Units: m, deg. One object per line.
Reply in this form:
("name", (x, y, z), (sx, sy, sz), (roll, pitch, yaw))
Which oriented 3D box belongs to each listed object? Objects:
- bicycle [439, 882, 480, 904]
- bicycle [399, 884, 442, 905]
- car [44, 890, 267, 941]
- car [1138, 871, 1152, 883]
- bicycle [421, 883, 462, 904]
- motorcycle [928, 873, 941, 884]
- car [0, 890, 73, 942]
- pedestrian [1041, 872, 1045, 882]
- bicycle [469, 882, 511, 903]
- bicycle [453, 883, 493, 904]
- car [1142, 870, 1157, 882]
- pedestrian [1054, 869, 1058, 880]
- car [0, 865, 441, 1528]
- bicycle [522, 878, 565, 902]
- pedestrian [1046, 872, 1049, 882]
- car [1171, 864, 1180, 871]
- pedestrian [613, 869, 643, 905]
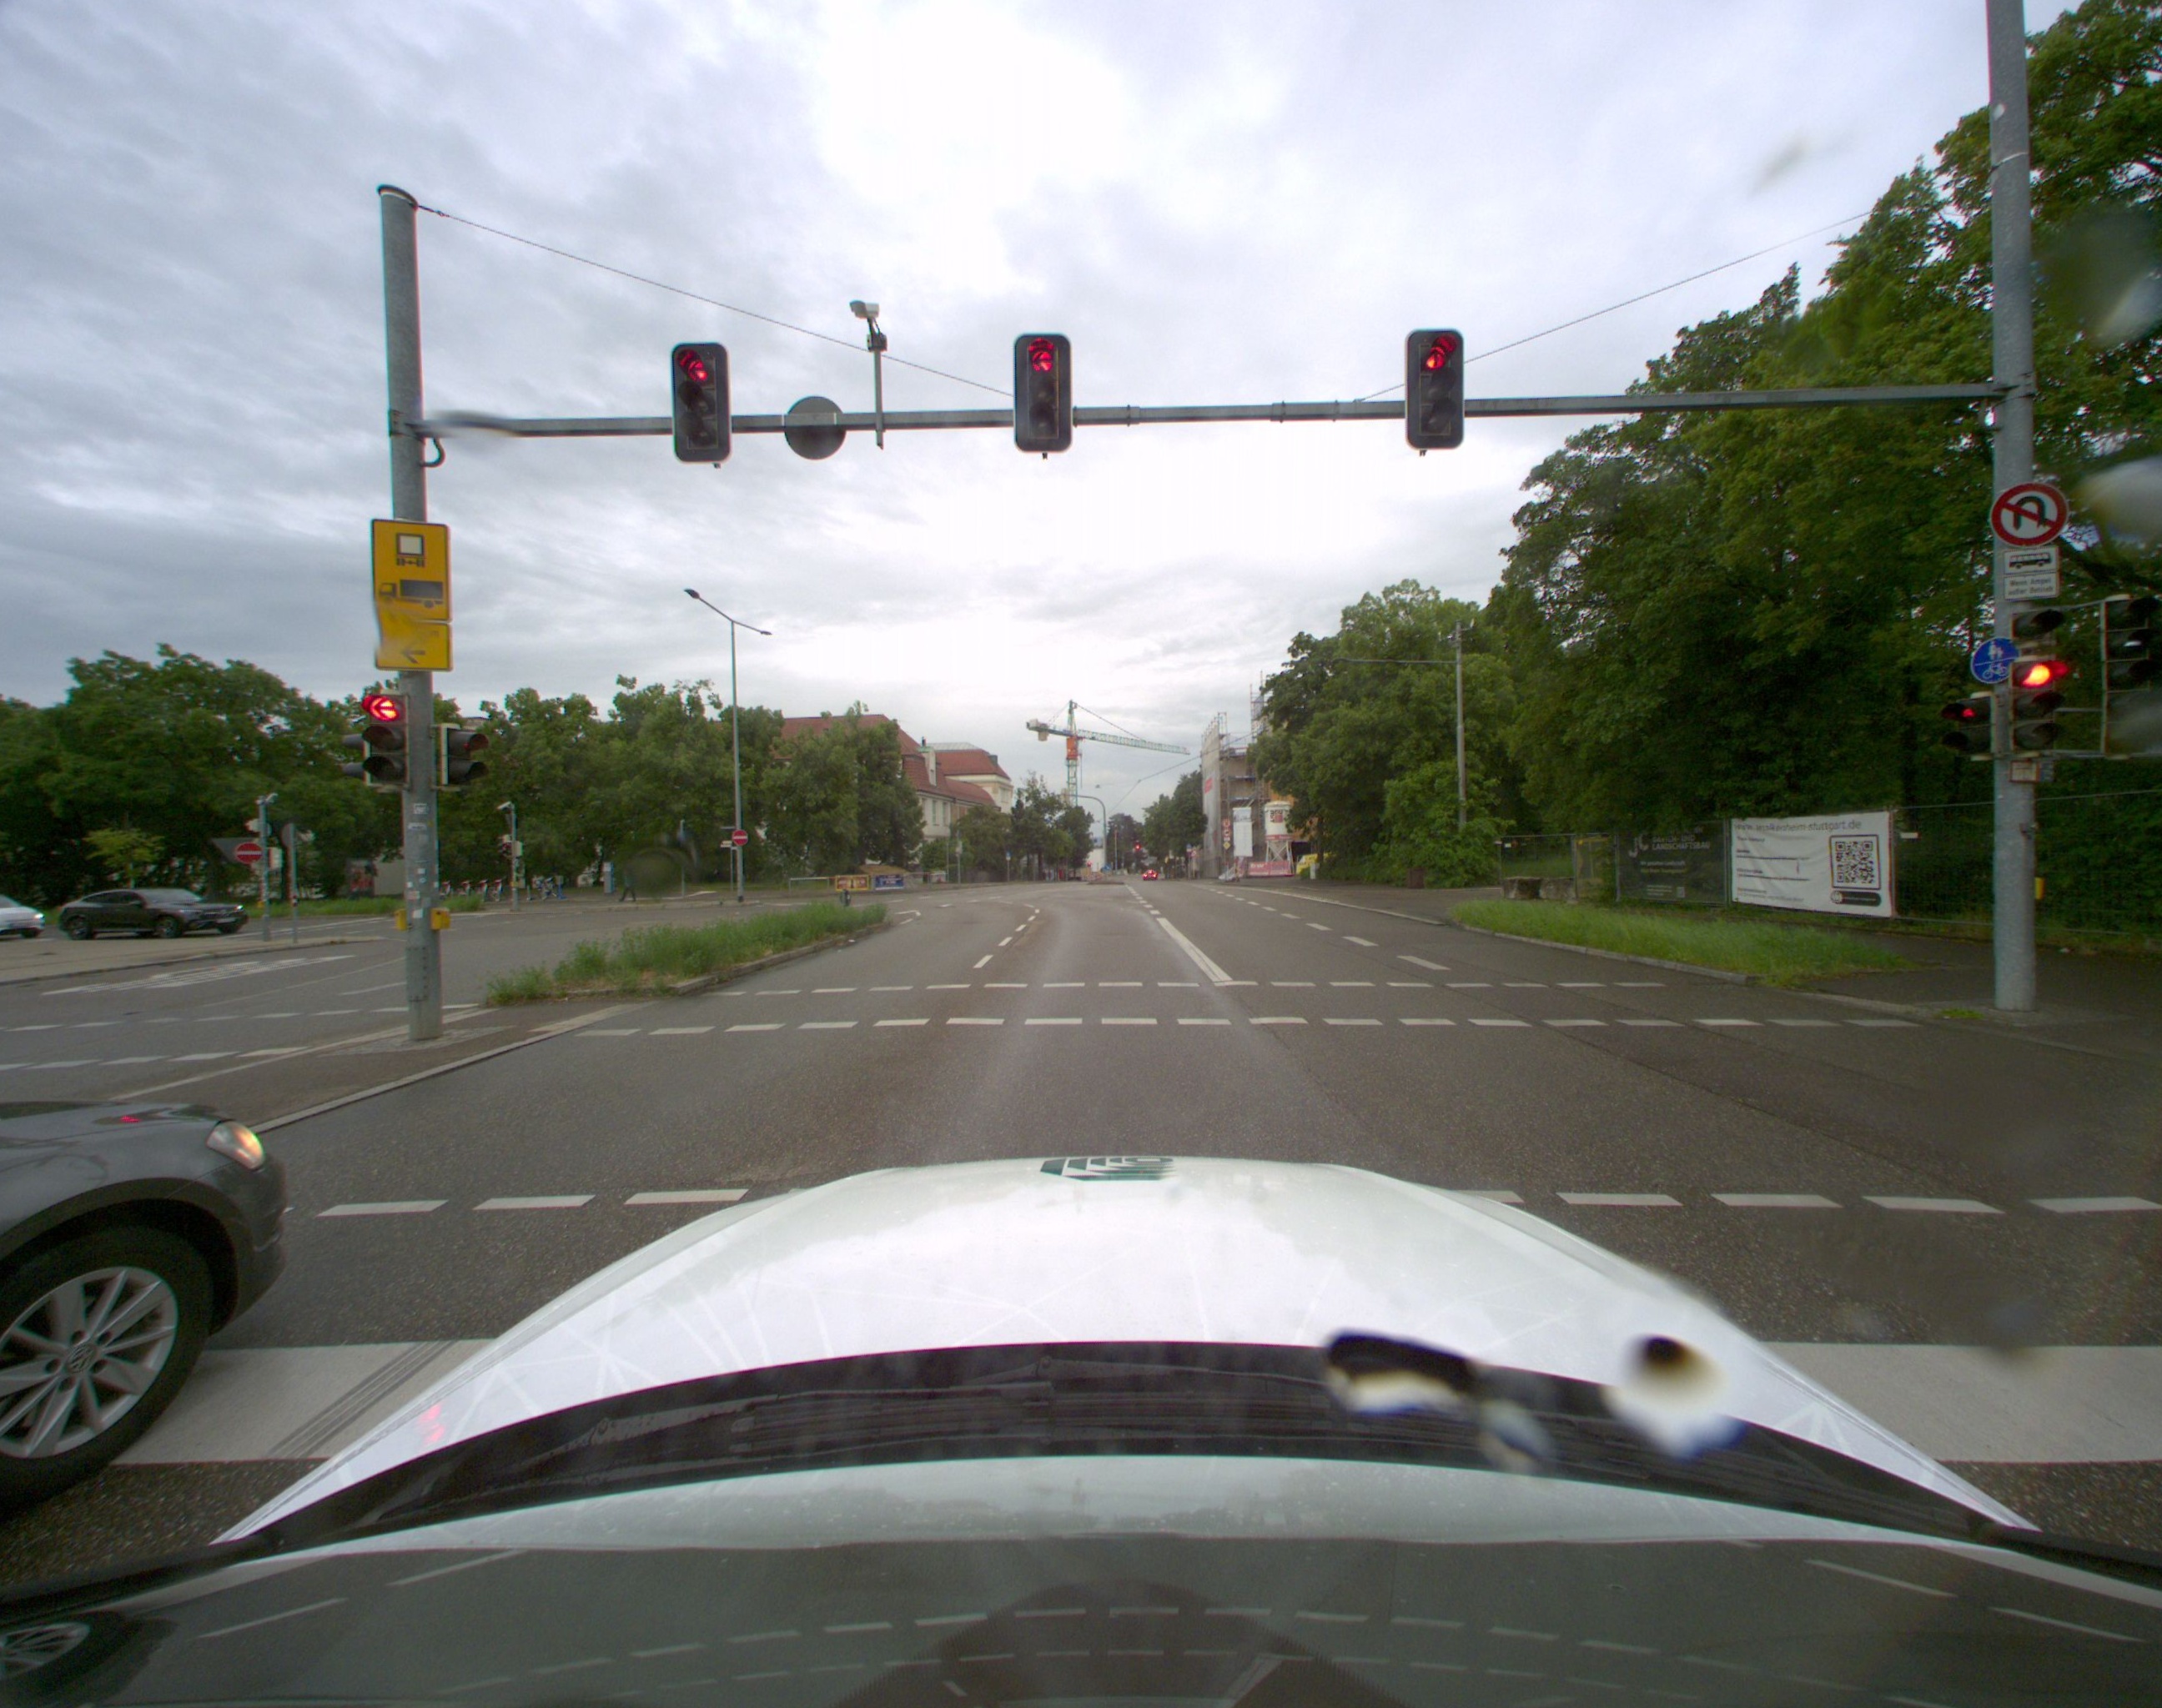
("bicycle", (-33.907, 2.118, 44.448), (0.649, 1.071, 1.982), (0, -1, 2))
("bicycle", (-35.963, 2.181, 44.364), (0.649, 1.071, 1.982), (0, -1, 2))
("car", (-30.073, 1.987, 26.584), (5.006, 1.500, 2.001), (0, -1, 1))
("car", (10.185, 3.658, 130.451), (1.986, 1.750, 4.001), (-2, 0, 1))
("bicycle", (-34.986, 2.146, 44.579), (0.649, 1.071, 1.982), (0, -1, 2))
("motorcycle", (-11.685, 1.926, 64.891), (0.846, 0.877, 0.877), (0, -1, 1))
("car", (-36.494, 2.040, 27.048), (3.539, 1.594, 2.001), (0, -1, 1))
("pedestrian", (-5.638, 3.370, 120.292), (0.473, 1.396, 0.411), (-2, -1, 1))
("bicycle", (-32.268, 2.070, 44.505), (0.798, 1.071, 1.982), (0, -1, 2))
("bicycle", (-33.017, 2.122, 44.273), (0.649, 1.071, 1.982), (0, -1, 2))
("car", (10.447, 3.381, 124.704), (1.986, 1.750, 4.001), (-2, 0, 1))
("pedestrian", (-3.723, 3.051, 121.248), (0.492, 1.645, 0.533), (0, -1, -4))
("car", (-3.390, 0.801, 0.878), (1.809, 1.481, 4.378), (-2, 0, 2))
("bicycle", (-29.435, 1.942, 44.613), (0.987, 1.249, 1.982), (0, -1, 2))
("pedestrian", (-4.940, 3.368, 120.347), (0.473, 1.396, 0.411), (-2, -1, 1))
("car", (25.422, 3.508, 218.957), (1.980, 1.750, 4.014), (-2, 0, 13))
("pedestrian", (-22.377, 1.629, 40.236), (0.917, 1.727, 0.949), (-1, -1, 10))
